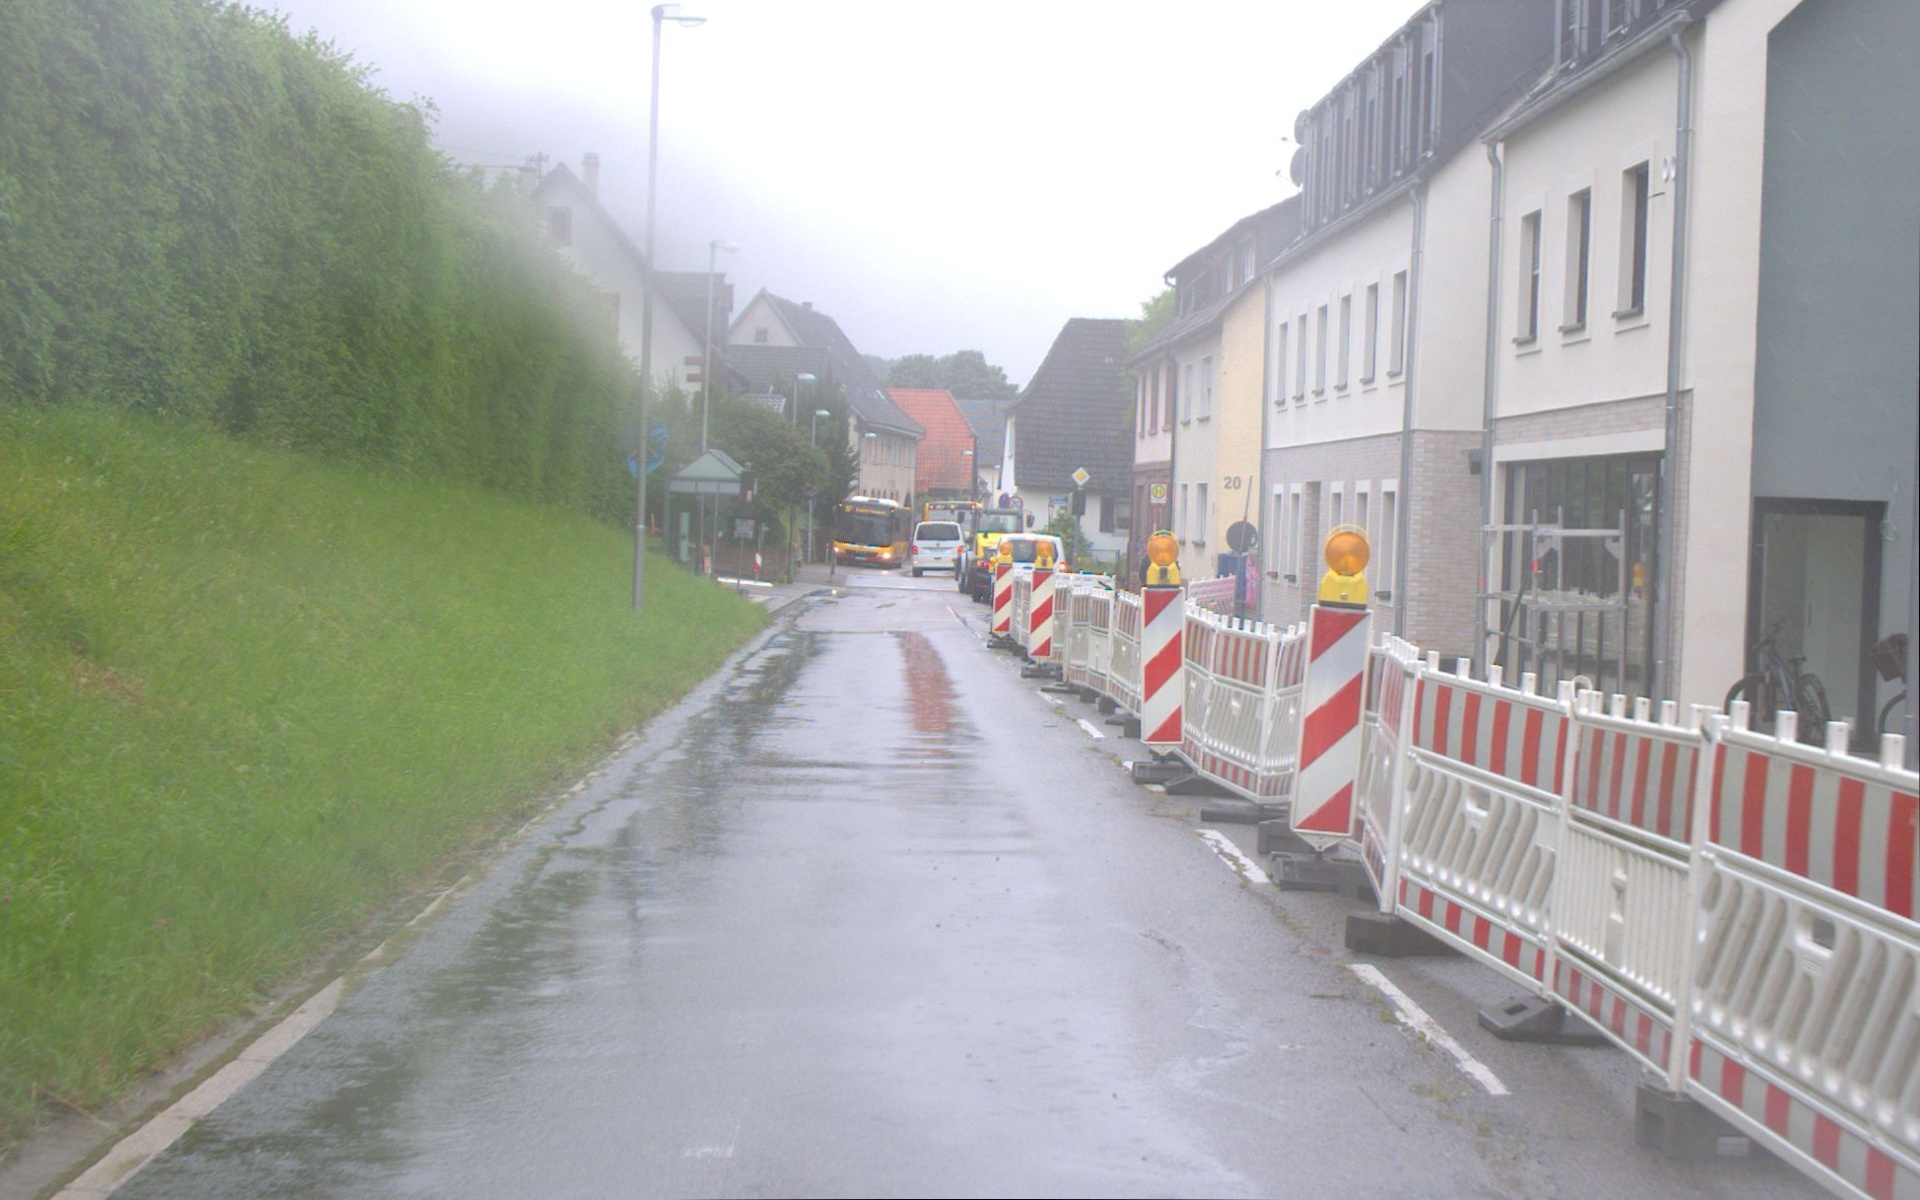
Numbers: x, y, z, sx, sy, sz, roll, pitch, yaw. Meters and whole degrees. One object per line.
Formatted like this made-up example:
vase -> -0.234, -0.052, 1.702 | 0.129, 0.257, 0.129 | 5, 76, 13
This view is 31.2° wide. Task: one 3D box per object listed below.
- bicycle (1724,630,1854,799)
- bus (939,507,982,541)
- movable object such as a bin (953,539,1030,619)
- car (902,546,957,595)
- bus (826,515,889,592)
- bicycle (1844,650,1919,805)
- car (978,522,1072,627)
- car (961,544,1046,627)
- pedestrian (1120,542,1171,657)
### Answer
bicycle -> 6.476, 0.874, 26.930 | 0.518, 1.216, 1.789 | 3, 1, 0
bus -> 0.031, -3.465, 156.956 | 1.794, 1.405, 4.000 | 3, 1, 1
movable object such as a bin -> 0.891, -0.618, 99.333 | 1.993, 2.165, 4.000 | 3, 1, -1
car -> -1.111, -1.056, 122.091 | 1.818, 1.636, 4.096 | 3, 1, -1
bus -> -4.375, -1.988, 148.097 | 2.241, 3.092, 7.030 | 3, 1, 1
bicycle -> 7.270, 0.966, 26.257 | 0.518, 1.099, 1.789 | 3, 1, 0
car -> 1.550, -0.625, 83.544 | 1.993, 2.367, 4.096 | 3, 1, -1
car -> 1.095, -0.389, 89.305 | 1.993, 2.007, 4.000 | 3, 1, -1
pedestrian -> 2.885, -0.012, 53.558 | 0.665, 1.749, 0.812 | 3, 0, 0
